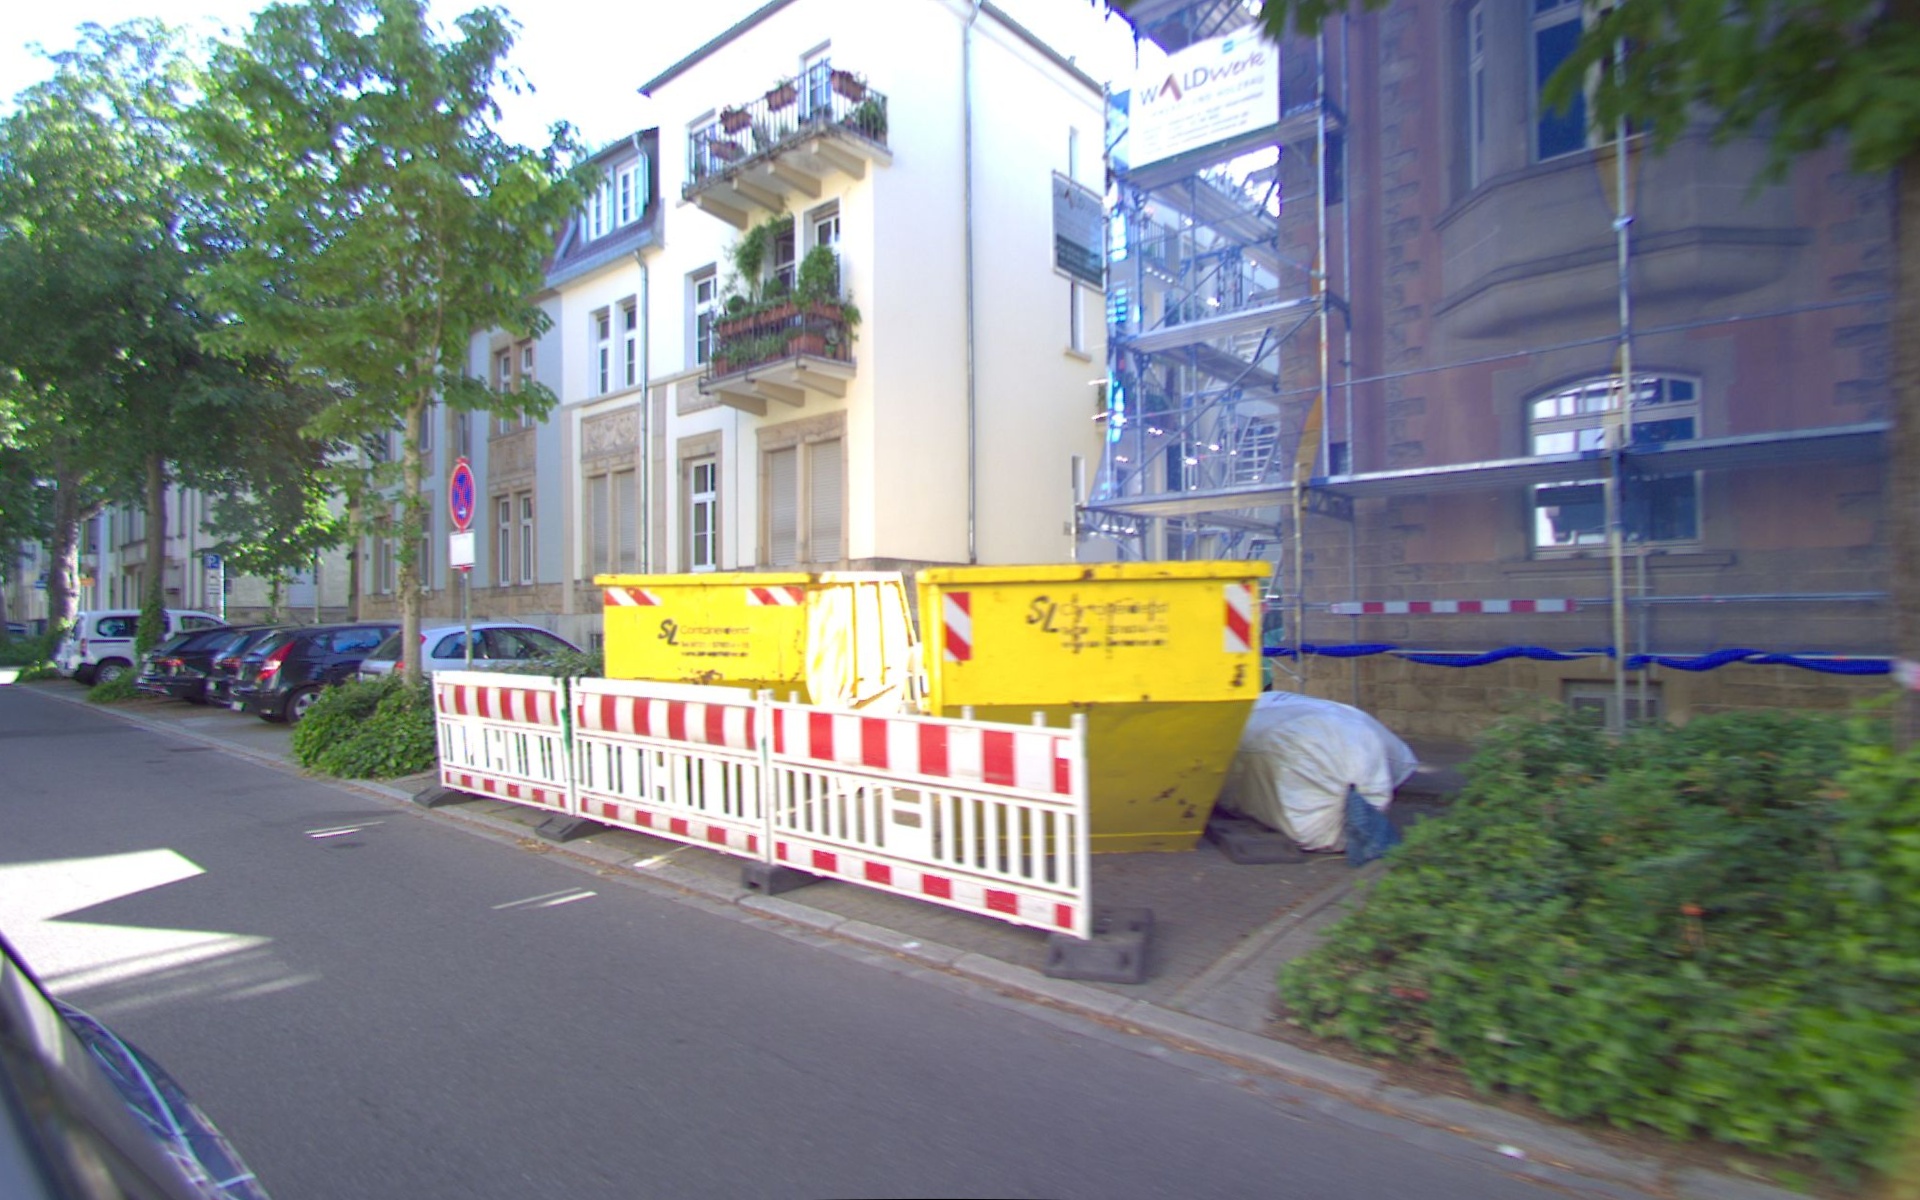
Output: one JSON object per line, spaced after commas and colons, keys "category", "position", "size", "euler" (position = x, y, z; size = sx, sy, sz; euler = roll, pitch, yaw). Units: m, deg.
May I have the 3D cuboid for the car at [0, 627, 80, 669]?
{"category": "car", "position": [-44.861, 2.302, 48.444], "size": [3.934, 1.775, 2.005], "euler": [-2, 1, -35]}

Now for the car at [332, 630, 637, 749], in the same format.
{"category": "car", "position": [-6.594, 1.160, 14.289], "size": [1.695, 1.459, 3.512], "euler": [-2, -3, 41]}

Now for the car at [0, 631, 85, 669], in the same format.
{"category": "car", "position": [-41.280, 2.212, 44.675], "size": [3.939, 1.443, 1.806], "euler": [-2, 1, -42]}

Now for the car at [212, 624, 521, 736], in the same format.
{"category": "car", "position": [-8.879, 1.140, 15.356], "size": [1.714, 1.476, 3.686], "euler": [-3, -4, 42]}

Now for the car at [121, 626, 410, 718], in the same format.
{"category": "car", "position": [-12.674, 1.243, 18.669], "size": [1.709, 1.411, 4.097], "euler": [-2, -1, 40]}

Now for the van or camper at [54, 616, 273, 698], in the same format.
{"category": "van or camper", "position": [-19.209, 1.322, 24.537], "size": [1.808, 1.787, 3.904], "euler": [-3, -2, 40]}

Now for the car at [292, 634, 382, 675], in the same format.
{"category": "car", "position": [-25.237, 2.200, 40.945], "size": [4.416, 1.566, 1.845], "euler": [-2, -5, 42]}

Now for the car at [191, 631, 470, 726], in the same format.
{"category": "car", "position": [-10.616, 1.253, 17.257], "size": [1.645, 1.442, 3.708], "euler": [-2, -3, 41]}

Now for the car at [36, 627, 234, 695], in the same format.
{"category": "car", "position": [-20.984, 1.503, 25.849], "size": [1.720, 1.528, 3.687], "euler": [-2, -1, 39]}
